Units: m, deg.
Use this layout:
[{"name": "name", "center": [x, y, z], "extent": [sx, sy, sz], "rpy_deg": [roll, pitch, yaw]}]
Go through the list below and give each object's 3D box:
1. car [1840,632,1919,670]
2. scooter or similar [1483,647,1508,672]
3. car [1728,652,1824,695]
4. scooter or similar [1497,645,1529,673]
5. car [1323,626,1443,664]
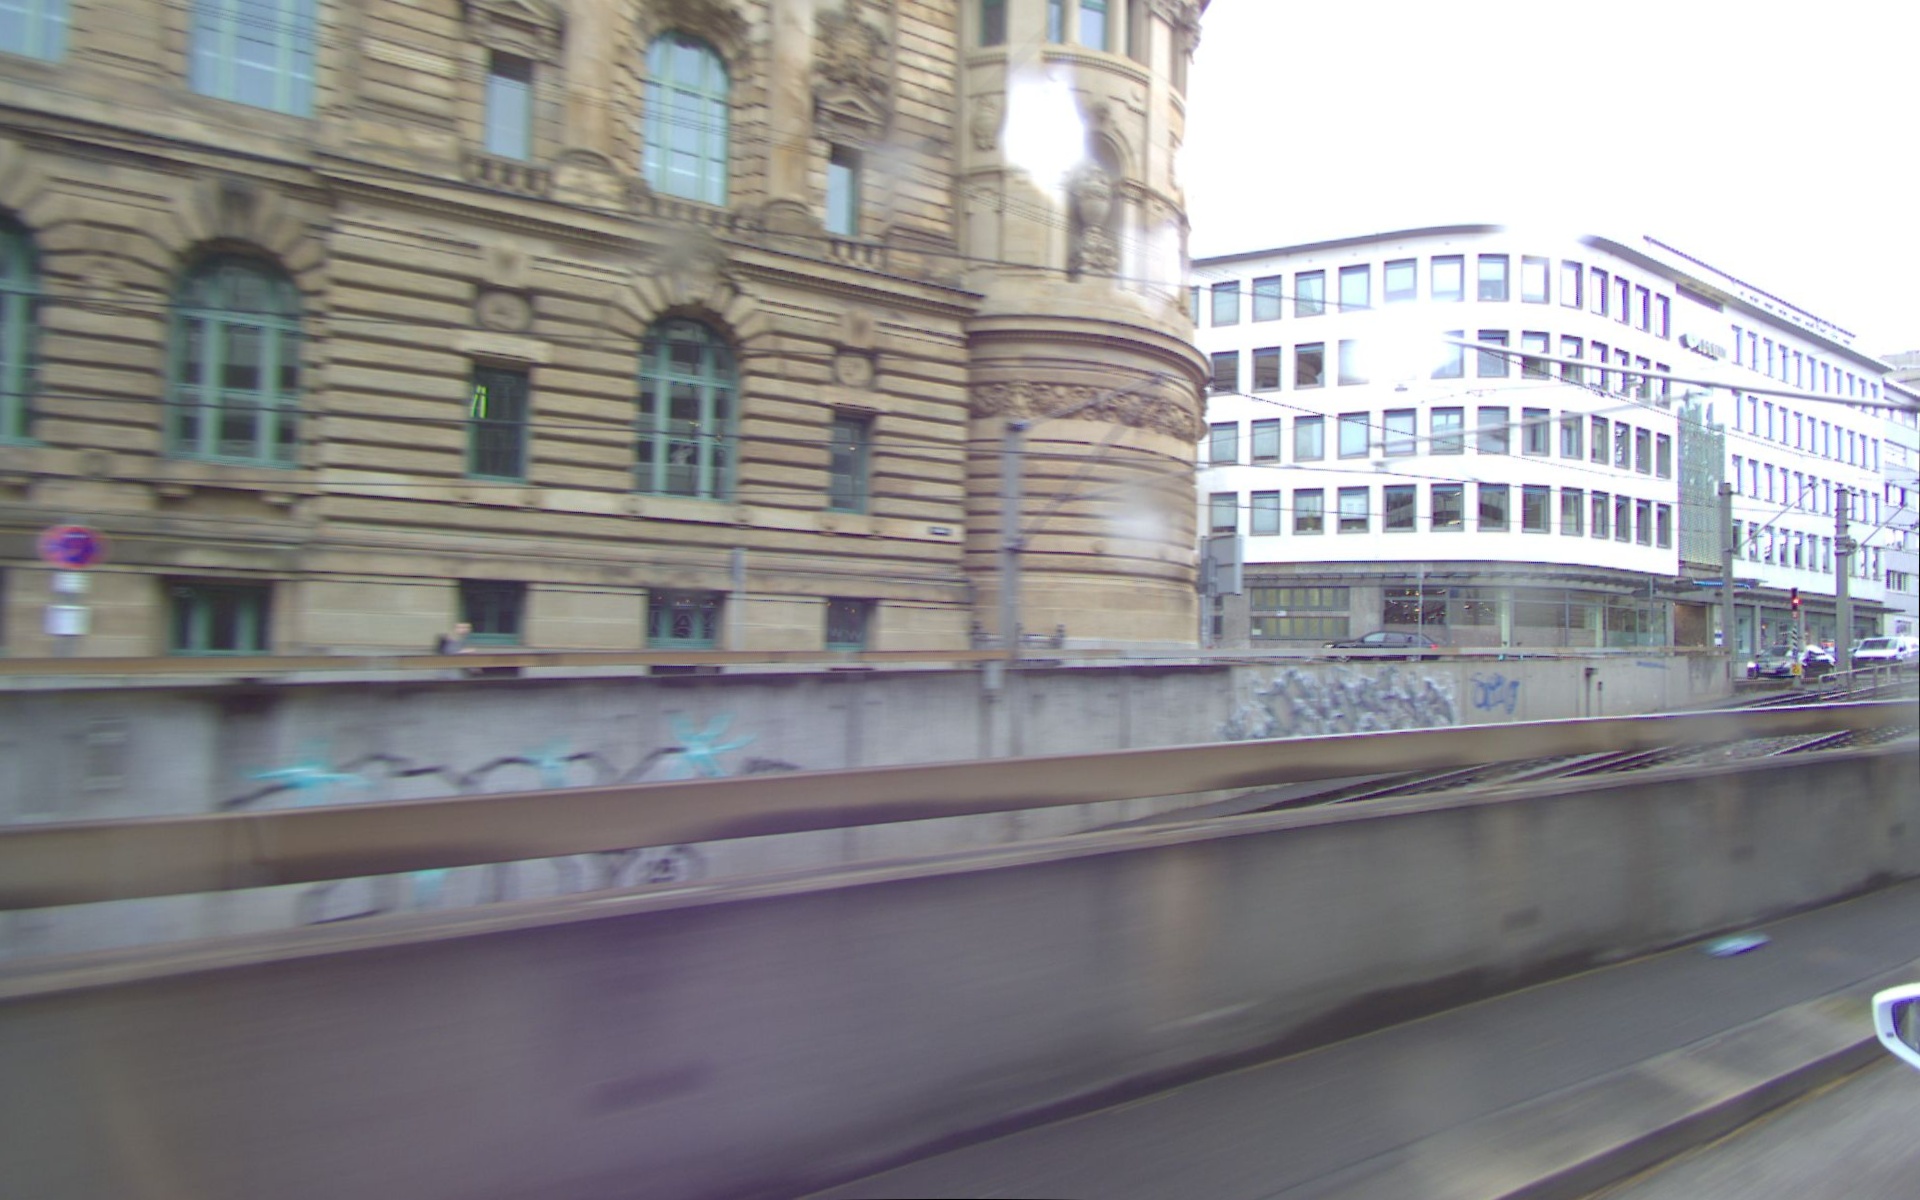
[{"name": "car", "center": [48.787, 2.701, 53.257], "extent": [4.874, 1.908, 1.982], "rpy_deg": [2, -2, -33]}, {"name": "scooter or similar", "center": [23.251, 2.589, 43.583], "extent": [0.539, 1.058, 0.821], "rpy_deg": [1, -1, -17]}, {"name": "car", "center": [32.398, 2.880, 39.861], "extent": [3.624, 1.548, 1.982], "rpy_deg": [2, -2, -33]}, {"name": "scooter or similar", "center": [23.571, 2.509, 42.781], "extent": [1.168, 1.194, 0.546], "rpy_deg": [1, -1, -18]}, {"name": "car", "center": [18.414, 1.989, 43.856], "extent": [4.688, 1.541, 1.675], "rpy_deg": [-2, -4, 22]}]
